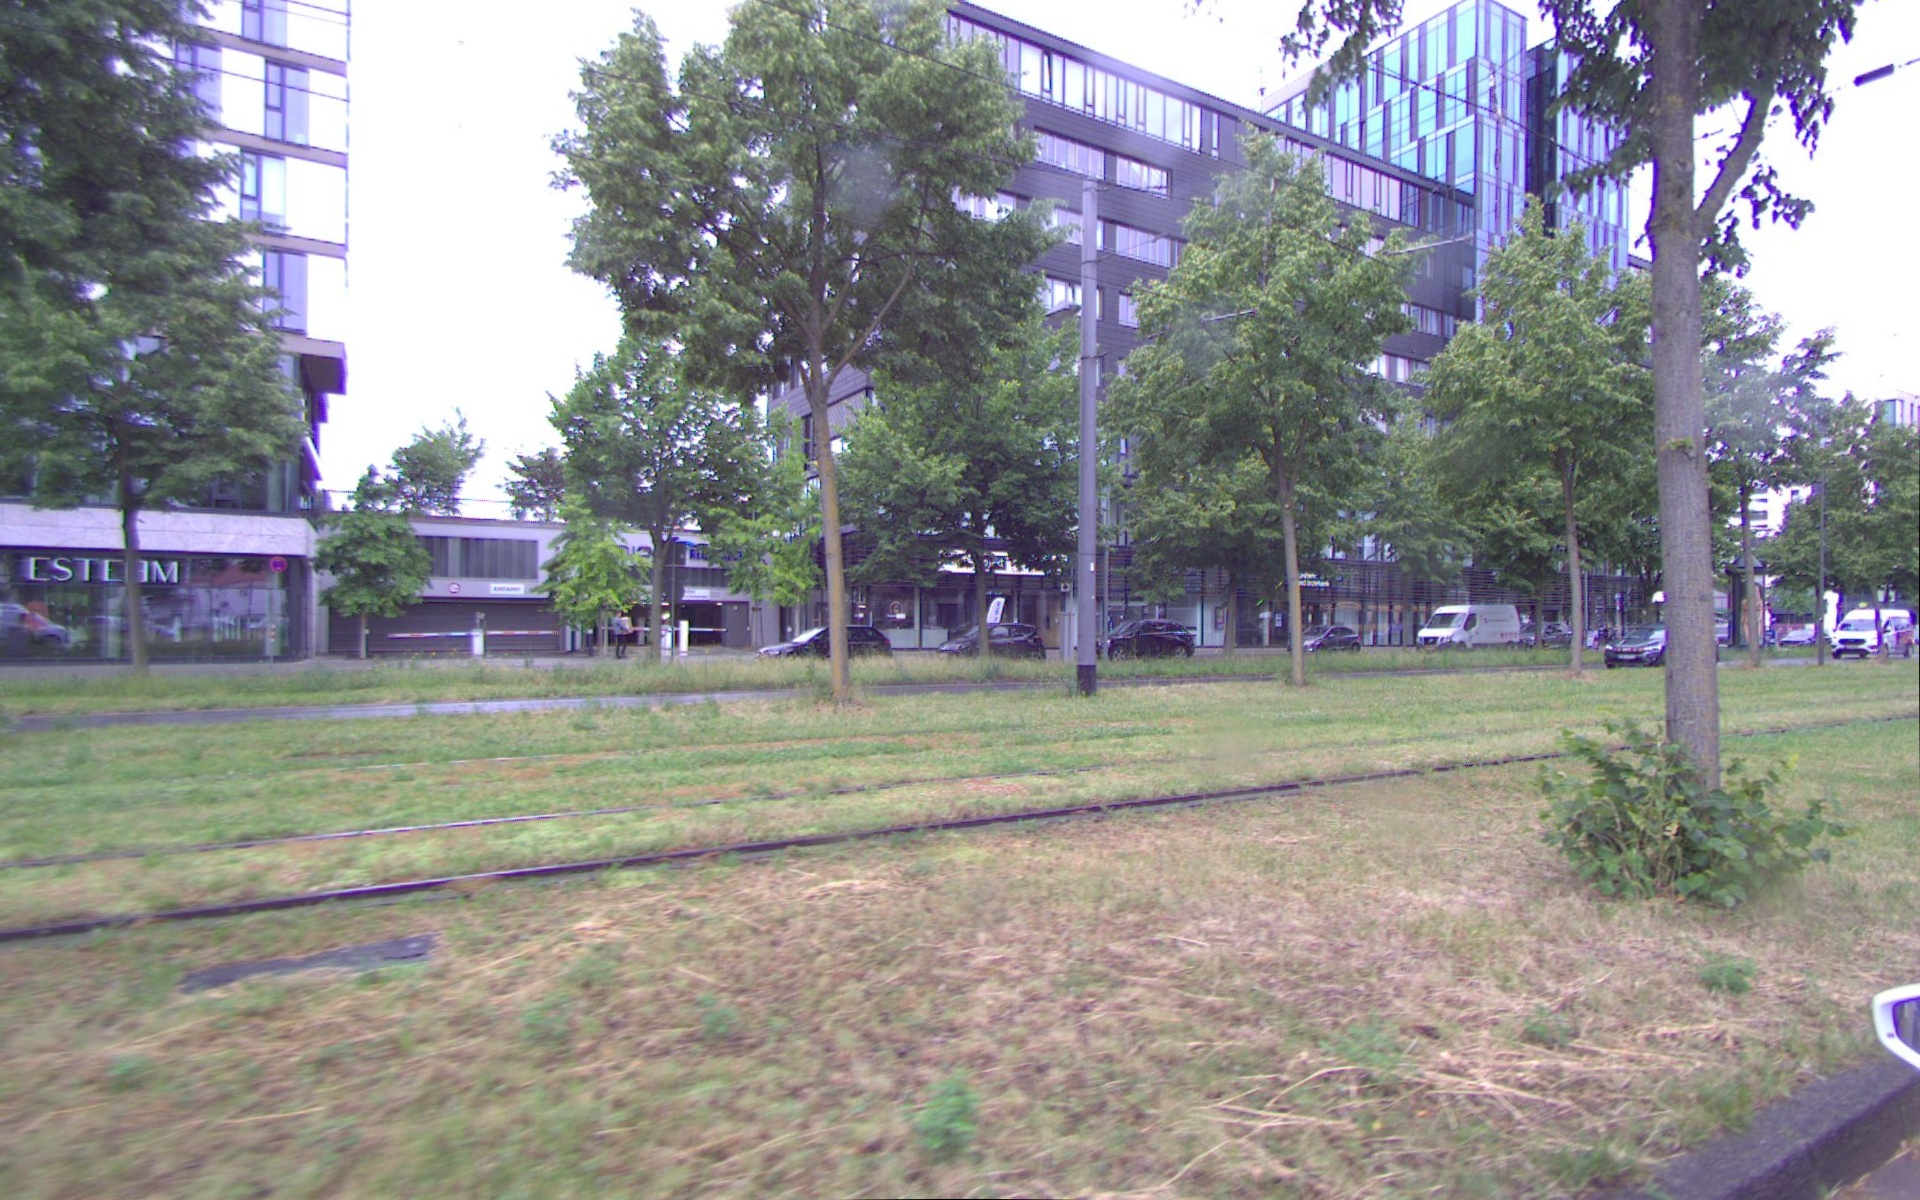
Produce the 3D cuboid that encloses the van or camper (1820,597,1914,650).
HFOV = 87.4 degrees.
[{"bbox_3d":[44.311,1.147,49.035,5.339,2.442,1.900,1,-1,-30],"label":"van or camper"}]

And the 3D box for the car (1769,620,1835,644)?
[{"bbox_3d":[55.095,2.077,65.703,4.555,1.542,1.983,1,-1,-32],"label":"car"}]

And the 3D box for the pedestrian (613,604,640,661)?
[{"bbox_3d":[-11.989,1.155,36.079,0.843,2.007,0.793,1,0,-22],"label":"pedestrian"}]

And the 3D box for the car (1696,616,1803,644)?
[{"bbox_3d":[45.763,1.710,58.349,4.597,1.542,1.996,0,-1,30],"label":"car"}]

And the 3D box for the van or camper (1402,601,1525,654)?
[{"bbox_3d":[23.434,1.269,46.677,5.782,2.346,2.421,1,-1,-31],"label":"van or camper"}]

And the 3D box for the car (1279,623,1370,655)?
[{"bbox_3d":[16.890,1.799,46.522,4.134,1.397,1.808,1,-1,-31],"label":"car"}]

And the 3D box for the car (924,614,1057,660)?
[{"bbox_3d":[1.013,1.198,33.091,3.954,1.397,1.984,1,-1,-31],"label":"car"}]

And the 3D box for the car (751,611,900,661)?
[{"bbox_3d":[-3.997,1.043,29.942,3.954,1.397,1.984,1,-1,-31],"label":"car"}]

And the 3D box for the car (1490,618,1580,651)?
[{"bbox_3d":[28.541,1.677,49.819,4.555,1.542,1.983,1,-1,-32],"label":"car"}]

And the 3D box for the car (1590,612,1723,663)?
[{"bbox_3d":[22.476,1.195,32.384,4.426,1.544,1.854,1,-1,-30],"label":"car"}]

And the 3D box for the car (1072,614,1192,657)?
[{"bbox_3d":[6.191,1.261,36.079,4.192,1.468,1.693,1,-1,-31],"label":"car"}]
